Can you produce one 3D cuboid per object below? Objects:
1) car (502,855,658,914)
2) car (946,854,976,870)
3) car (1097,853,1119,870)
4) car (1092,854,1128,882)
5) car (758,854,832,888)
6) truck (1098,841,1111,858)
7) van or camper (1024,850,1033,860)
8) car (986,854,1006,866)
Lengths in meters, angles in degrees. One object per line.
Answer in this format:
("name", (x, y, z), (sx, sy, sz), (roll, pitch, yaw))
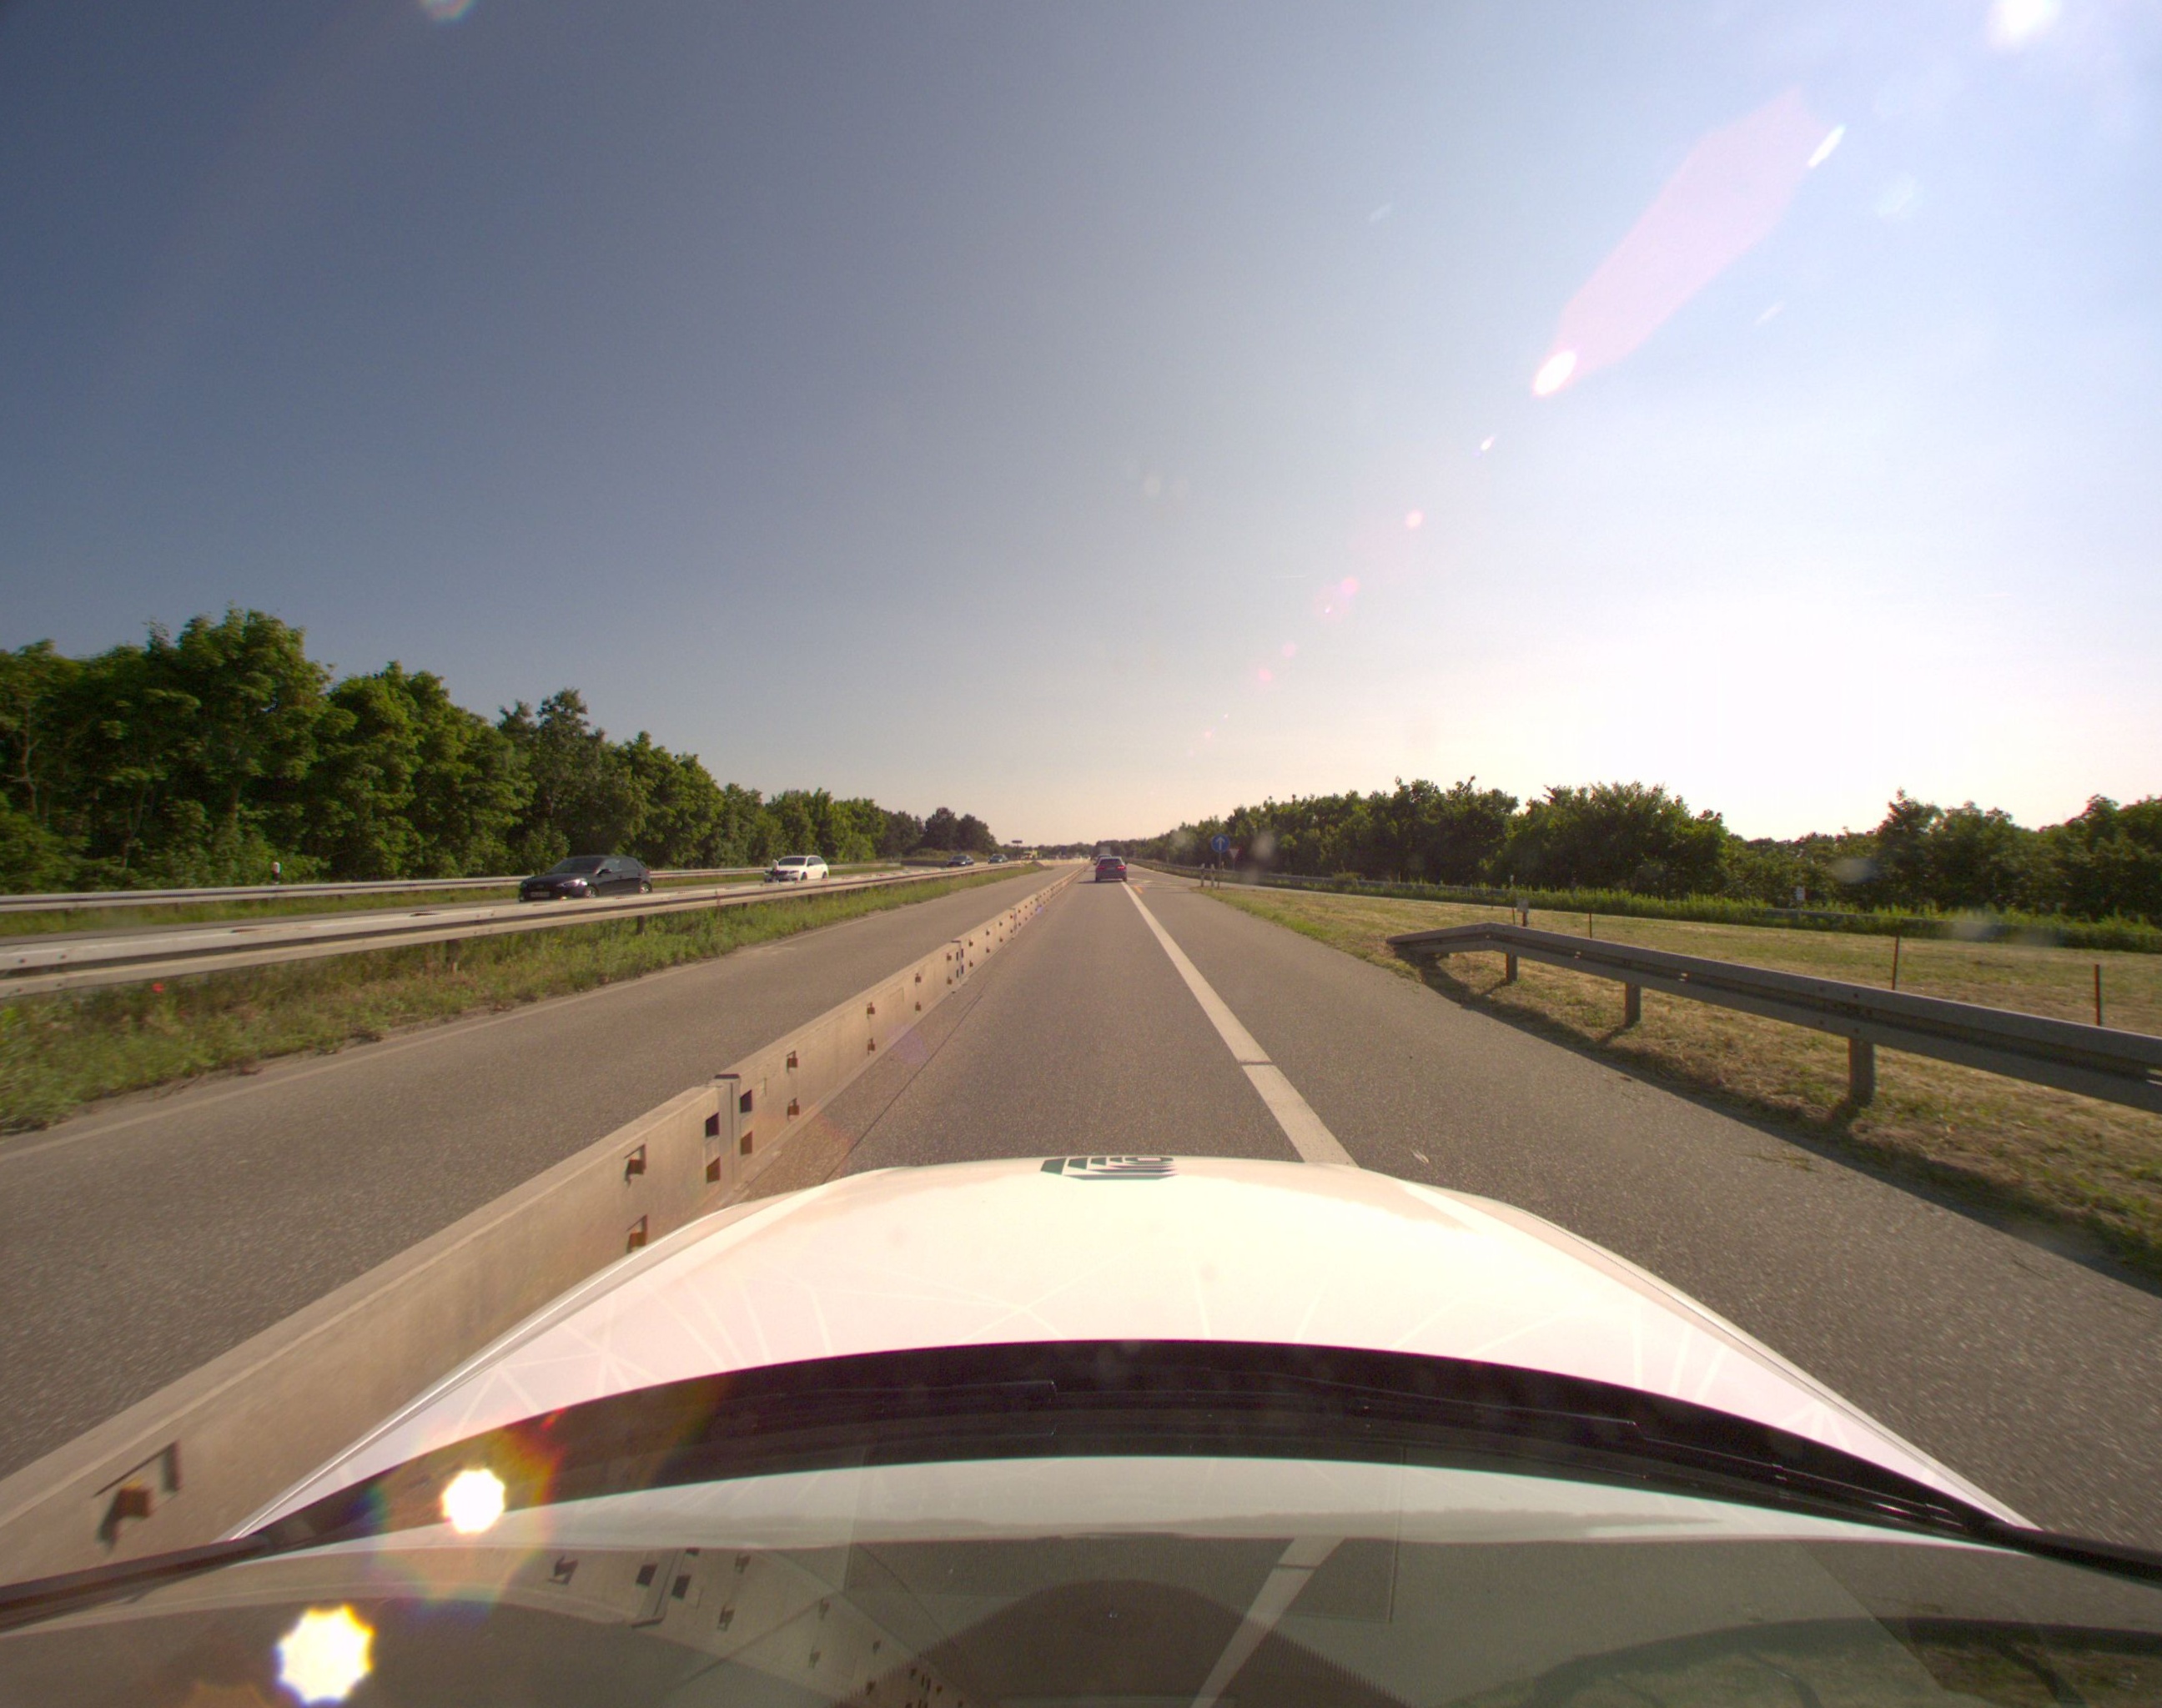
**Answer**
("car", (-13.864, 0.773, 22.852), (1.732, 1.494, 4.110), (0, 0, 1))
("car", (-11.399, 0.767, 77.488), (1.808, 1.488, 5.028), (0, 0, 3))
("car", (2.636, 0.730, 79.095), (1.986, 1.567, 4.002), (-1, 0, 2))
("car", (1.633, 0.774, 47.116), (1.914, 1.494, 4.000), (0, 0, 0))
("car", (-13.495, 0.769, 38.754), (1.754, 1.470, 4.795), (1, 0, 1))
("truck", (7.006, -1.298, 241.959), (3.748, 4.911, 14.138), (0, 0, 1))
("van or camper", (-12.657, 0.303, 196.446), (1.990, 2.378, 6.191), (-3, 0, -4))
("car", (-10.430, 0.726, 100.360), (1.790, 1.434, 4.595), (0, 0, 2))
